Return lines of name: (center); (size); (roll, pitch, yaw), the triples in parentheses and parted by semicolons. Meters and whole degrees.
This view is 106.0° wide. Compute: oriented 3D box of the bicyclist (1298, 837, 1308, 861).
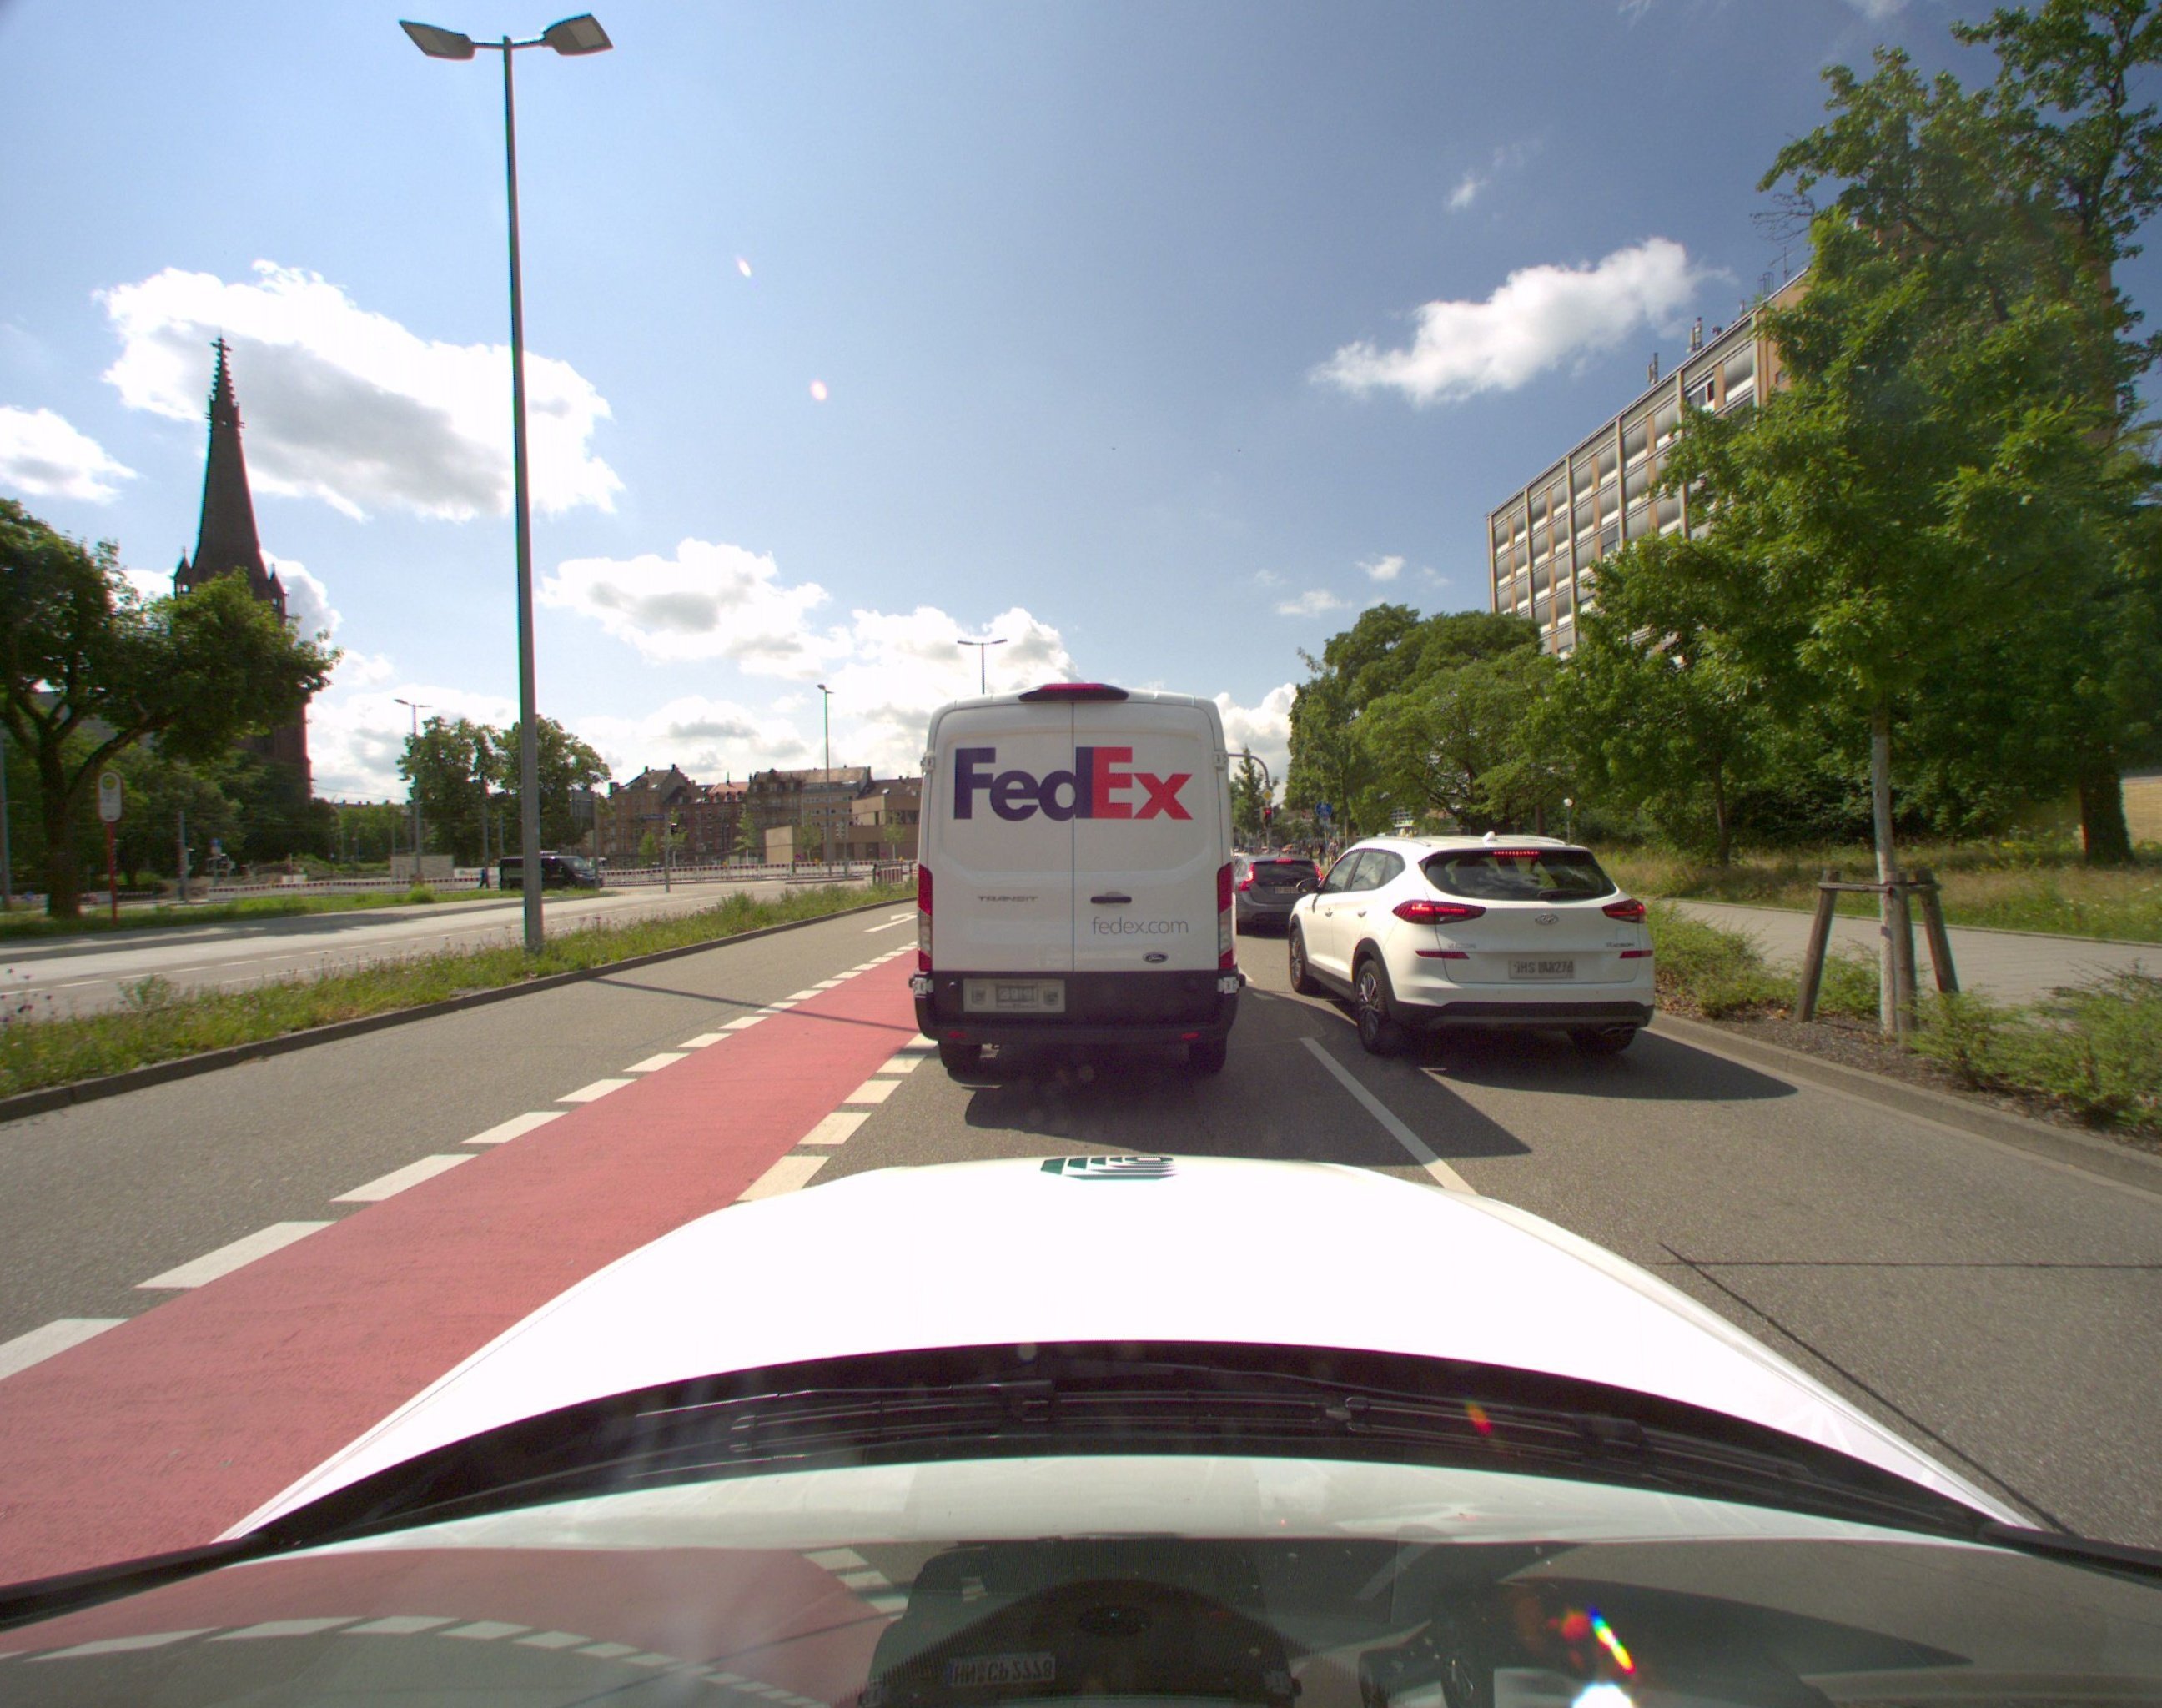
bicyclist: (17.032, -0.408, 62.495); (0.586, 1.844, 1.129); (-2, 1, 23)

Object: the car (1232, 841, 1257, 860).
car: (18.323, -0.354, 91.211); (2.075, 2.014, 4.667); (-2, -1, 19)

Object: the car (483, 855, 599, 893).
car: (-29.934, 1.105, 45.260); (4.995, 1.879, 1.928); (-2, 0, -2)

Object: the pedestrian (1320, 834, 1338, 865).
pedestrian: (16.729, -0.289, 54.899); (0.848, 2.058, 0.735); (-2, 0, -22)

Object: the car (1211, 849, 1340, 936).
car: (3.642, 0.651, 15.899); (1.790, 1.461, 3.842); (-2, 0, 4)

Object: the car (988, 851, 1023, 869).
car: (-7.091, 0.582, 76.813); (1.886, 1.585, 4.017); (-2, 0, 16)

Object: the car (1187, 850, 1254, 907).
car: (3.808, 0.630, 22.670); (1.478, 1.428, 3.436); (-2, 0, 4)

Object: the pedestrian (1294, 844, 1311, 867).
pedestrian: (13.771, 0.084, 50.748); (0.842, 1.389, 0.741); (-2, 0, 1)

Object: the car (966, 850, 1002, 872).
car: (-9.224, 0.621, 77.749); (1.978, 2.014, 4.017); (-2, -1, 16)

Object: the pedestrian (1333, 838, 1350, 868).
pedestrian: (17.724, -0.070, 55.388); (0.842, 2.013, 0.741); (-2, 0, 1)

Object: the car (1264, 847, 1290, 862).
car: (24.898, 0.051, 103.270); (1.974, 1.794, 4.399); (-2, -1, 30)

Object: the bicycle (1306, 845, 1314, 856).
bicycle: (22.409, -0.321, 79.603); (0.542, 1.030, 1.932); (-2, 0, 10)

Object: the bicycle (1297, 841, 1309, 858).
bicycle: (16.996, -0.341, 62.401); (0.597, 1.290, 2.082); (-2, 0, 23)

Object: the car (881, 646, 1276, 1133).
car: (-0.019, 0.189, 7.349); (2.134, 2.652, 5.703); (-1, 0, 0)

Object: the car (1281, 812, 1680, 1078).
car: (3.073, 0.583, 7.279); (1.790, 1.687, 4.004); (-2, 0, 4)

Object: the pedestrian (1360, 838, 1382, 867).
pedestrian: (15.731, -0.098, 44.193); (0.842, 1.539, 0.835); (-2, 0, 1)

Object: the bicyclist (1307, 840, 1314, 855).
bicyclist: (22.414, -0.670, 79.675); (0.546, 1.474, 0.974); (-2, 0, 10)
